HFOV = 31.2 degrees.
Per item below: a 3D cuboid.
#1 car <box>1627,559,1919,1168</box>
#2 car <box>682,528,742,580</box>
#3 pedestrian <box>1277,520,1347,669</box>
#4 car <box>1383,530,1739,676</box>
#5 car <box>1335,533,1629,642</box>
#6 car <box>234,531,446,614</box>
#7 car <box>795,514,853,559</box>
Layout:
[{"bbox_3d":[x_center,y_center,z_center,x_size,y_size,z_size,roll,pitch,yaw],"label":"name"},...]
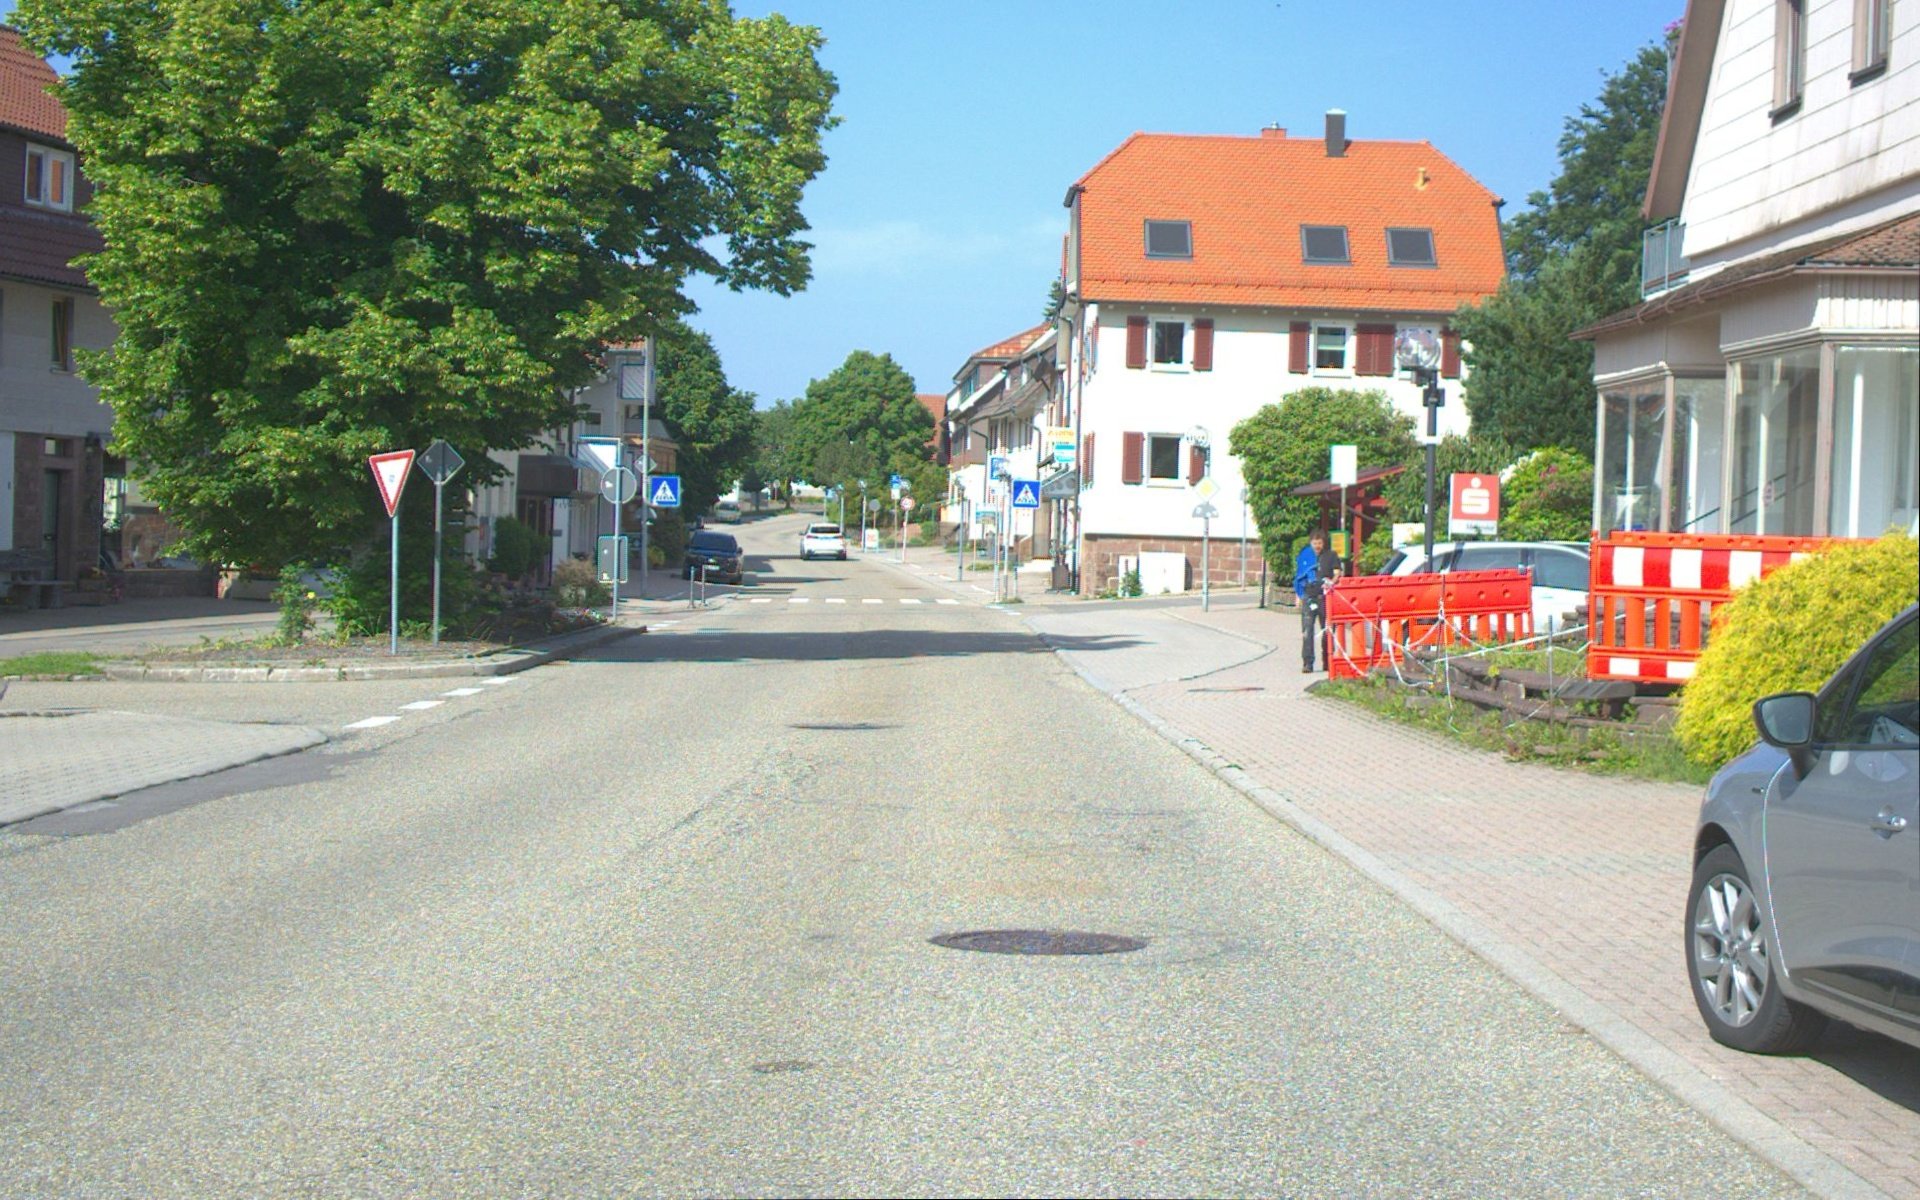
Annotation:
[{"bbox_3d":[3.059,0.623,8.705,1.635,1.415,3.936,-2,1,-5],"label":"car"},{"bbox_3d":[-8.245,-1.543,114.414,1.672,1.528,3.536,5,1,-1],"label":"car"},{"bbox_3d":[4.243,-0.080,41.483,0.799,1.778,0.979,0,1,4],"label":"pedestrian"},{"bbox_3d":[6.847,0.005,39.057,3.864,1.553,1.962,1,1,12],"label":"car"},{"bbox_3d":[7.496,-0.200,49.658,3.987,1.543,1.881,0,1,2],"label":"car"},{"bbox_3d":[-12.386,-0.537,68.762,3.761,1.449,1.816,-1,-4,11],"label":"car"},{"bbox_3d":[-6.346,-2.958,159.909,2.495,2.007,4.305,-1,1,-4],"label":"car"}]
